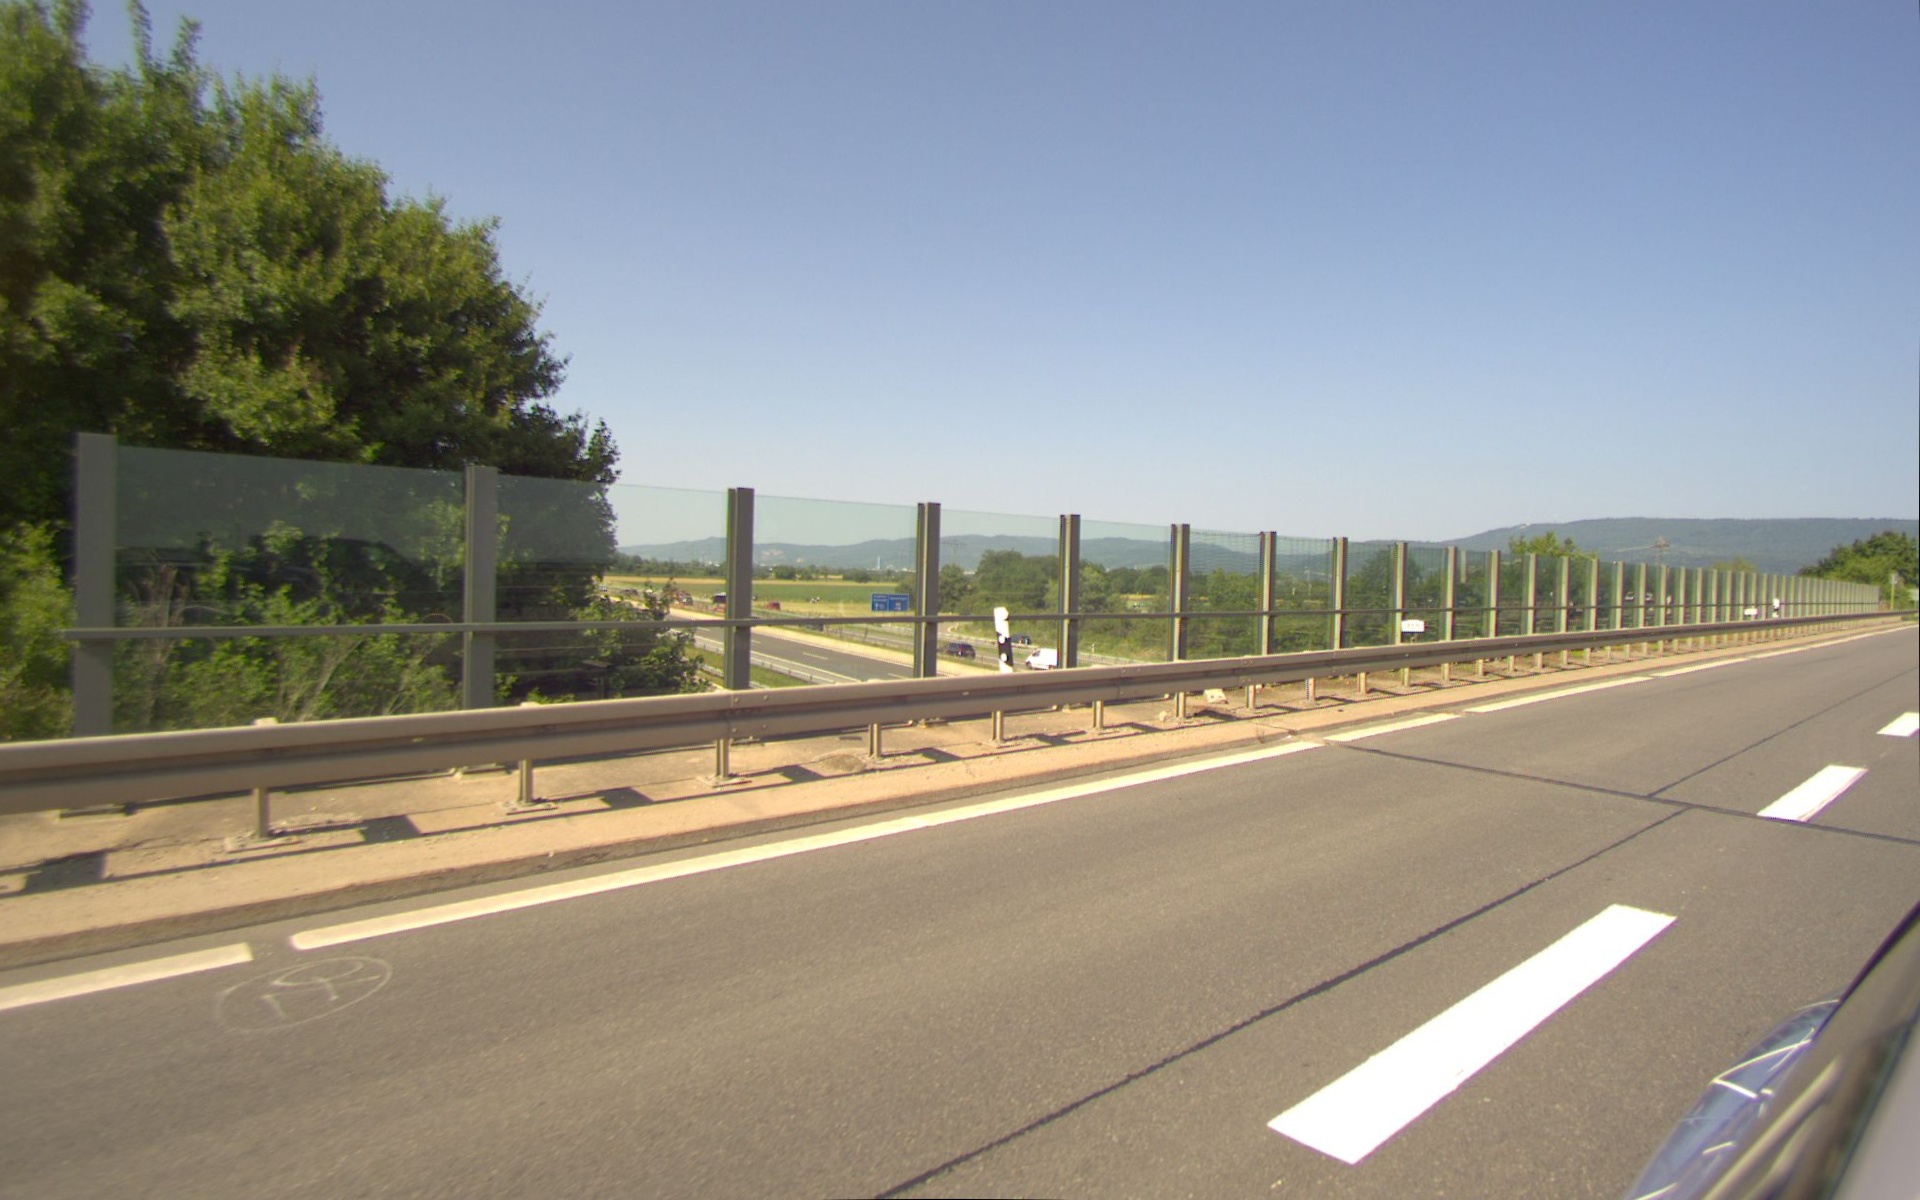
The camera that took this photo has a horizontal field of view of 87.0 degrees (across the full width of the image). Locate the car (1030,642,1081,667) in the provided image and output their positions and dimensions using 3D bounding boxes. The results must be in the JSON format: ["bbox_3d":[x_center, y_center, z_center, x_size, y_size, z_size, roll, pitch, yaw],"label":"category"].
[{"bbox_3d":[7.673,4.391,81.979,1.960,1.727,4.266,0,0,-31],"label":"car"}]

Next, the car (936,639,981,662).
[{"bbox_3d":[-0.169,4.349,87.887,1.960,1.727,4.266,0,0,-31],"label":"car"}]

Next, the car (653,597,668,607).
[{"bbox_3d":[-53.050,0.311,179.357,1.841,1.787,4.005,0,0,-29],"label":"car"}]

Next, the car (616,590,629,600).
[{"bbox_3d":[-70.464,-0.965,211.342,1.841,2.037,4.005,0,0,-29],"label":"car"}]

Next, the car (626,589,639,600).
[{"bbox_3d":[-72.760,-1.209,224.996,1.842,2.388,4.722,0,0,-30],"label":"car"}]

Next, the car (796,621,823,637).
[{"bbox_3d":[-17.612,3.389,118.190,1.842,1.787,4.004,0,0,-30],"label":"car"}]

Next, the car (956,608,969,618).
[{"bbox_3d":[0.448,2.316,177.119,1.821,1.705,3.990,0,0,9],"label":"car"}]

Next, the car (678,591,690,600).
[{"bbox_3d":[-65.156,-1.100,238.907,1.960,2.039,4.004,0,0,-30],"label":"car"}]

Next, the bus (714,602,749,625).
[{"bbox_3d":[-33.576,1.965,148.215,2.500,3.203,8.397,0,0,-31],"label":"bus"}]
